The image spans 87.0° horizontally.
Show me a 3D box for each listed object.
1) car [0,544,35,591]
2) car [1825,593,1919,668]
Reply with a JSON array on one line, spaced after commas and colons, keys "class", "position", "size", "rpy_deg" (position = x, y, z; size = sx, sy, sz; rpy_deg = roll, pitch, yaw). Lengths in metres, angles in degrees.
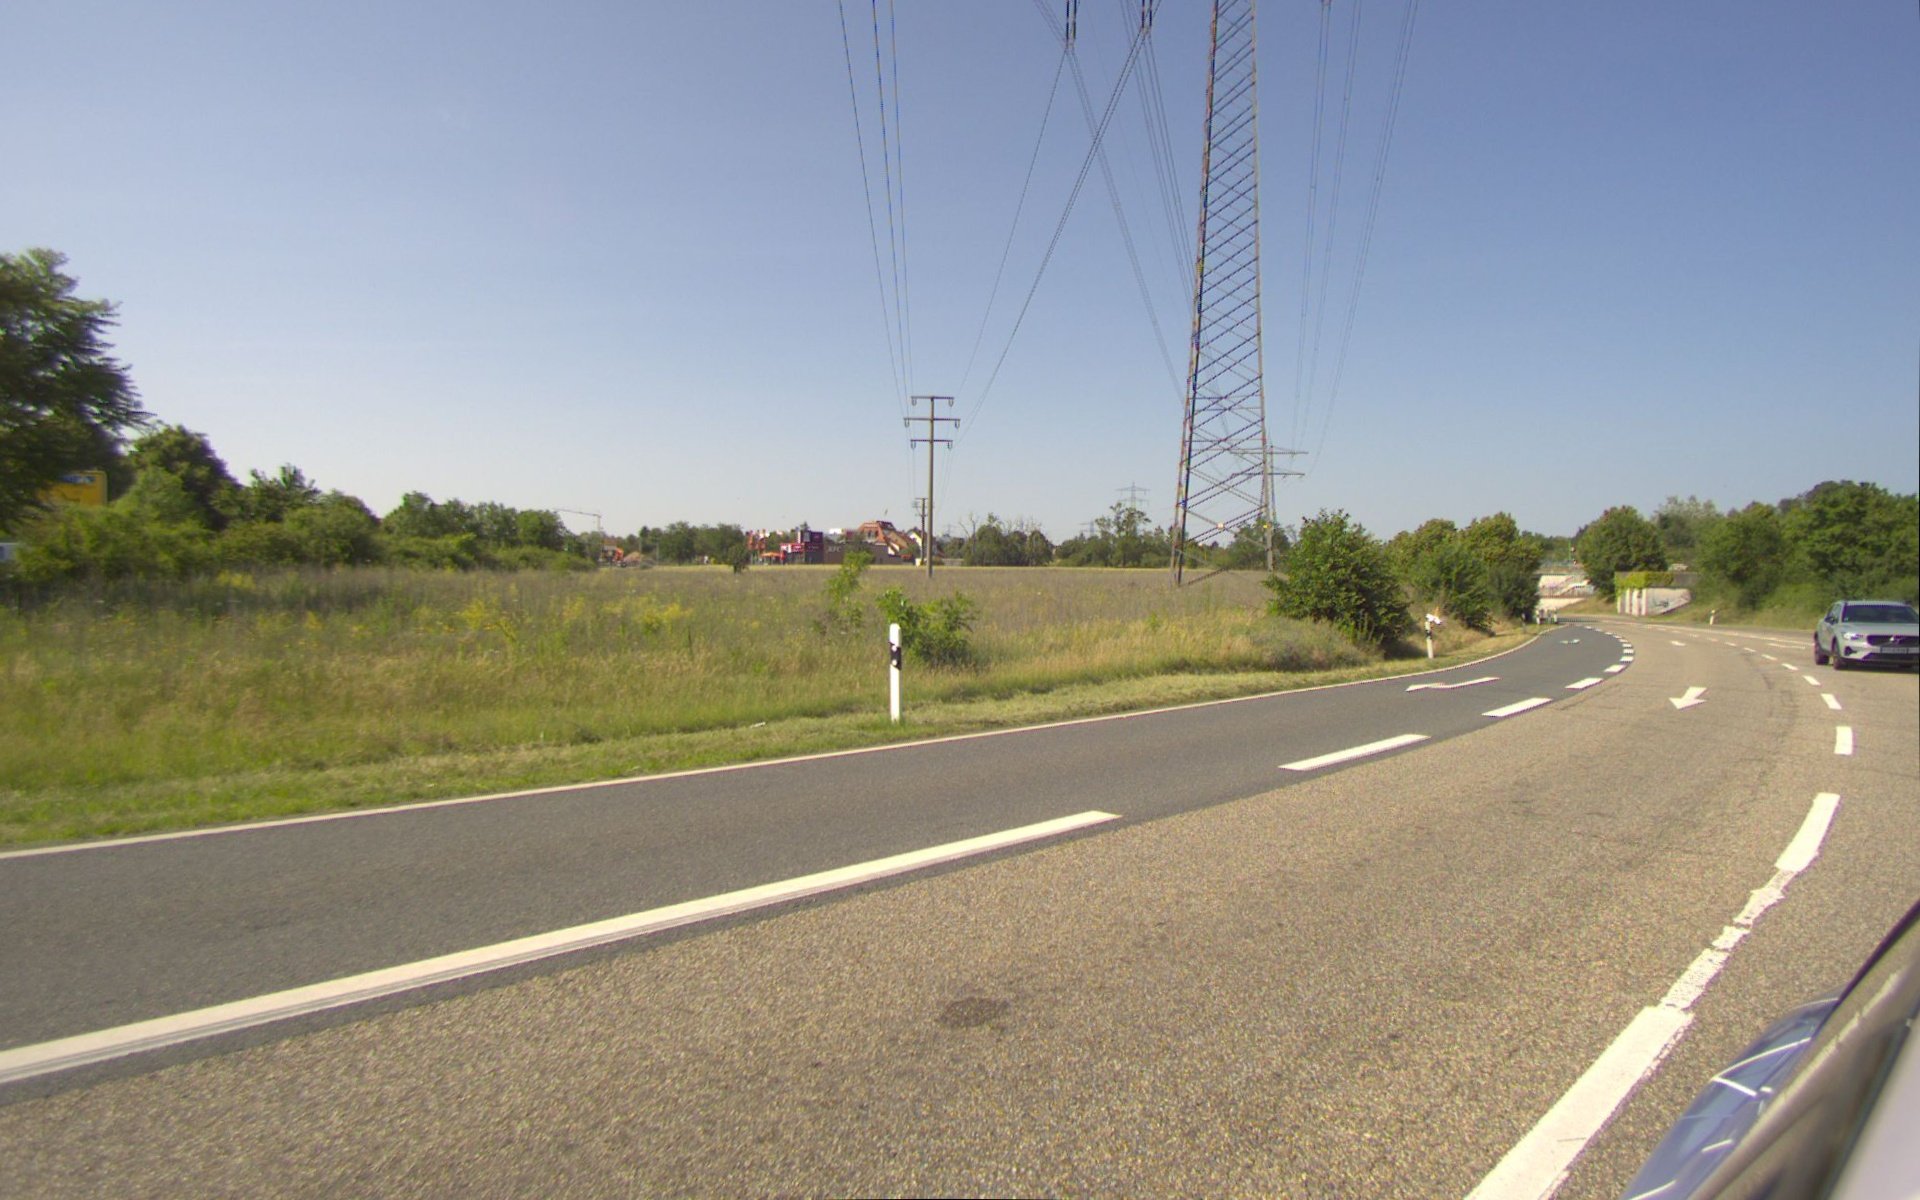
[{"class": "car", "position": [-51.877, -1.736, 54.401], "size": [1.431, 2.467, 3.913], "rpy_deg": [0, 0, -12]}, {"class": "car", "position": [21.903, 0.680, 23.858], "size": [1.848, 1.640, 3.604], "rpy_deg": [0, 0, 33]}]
